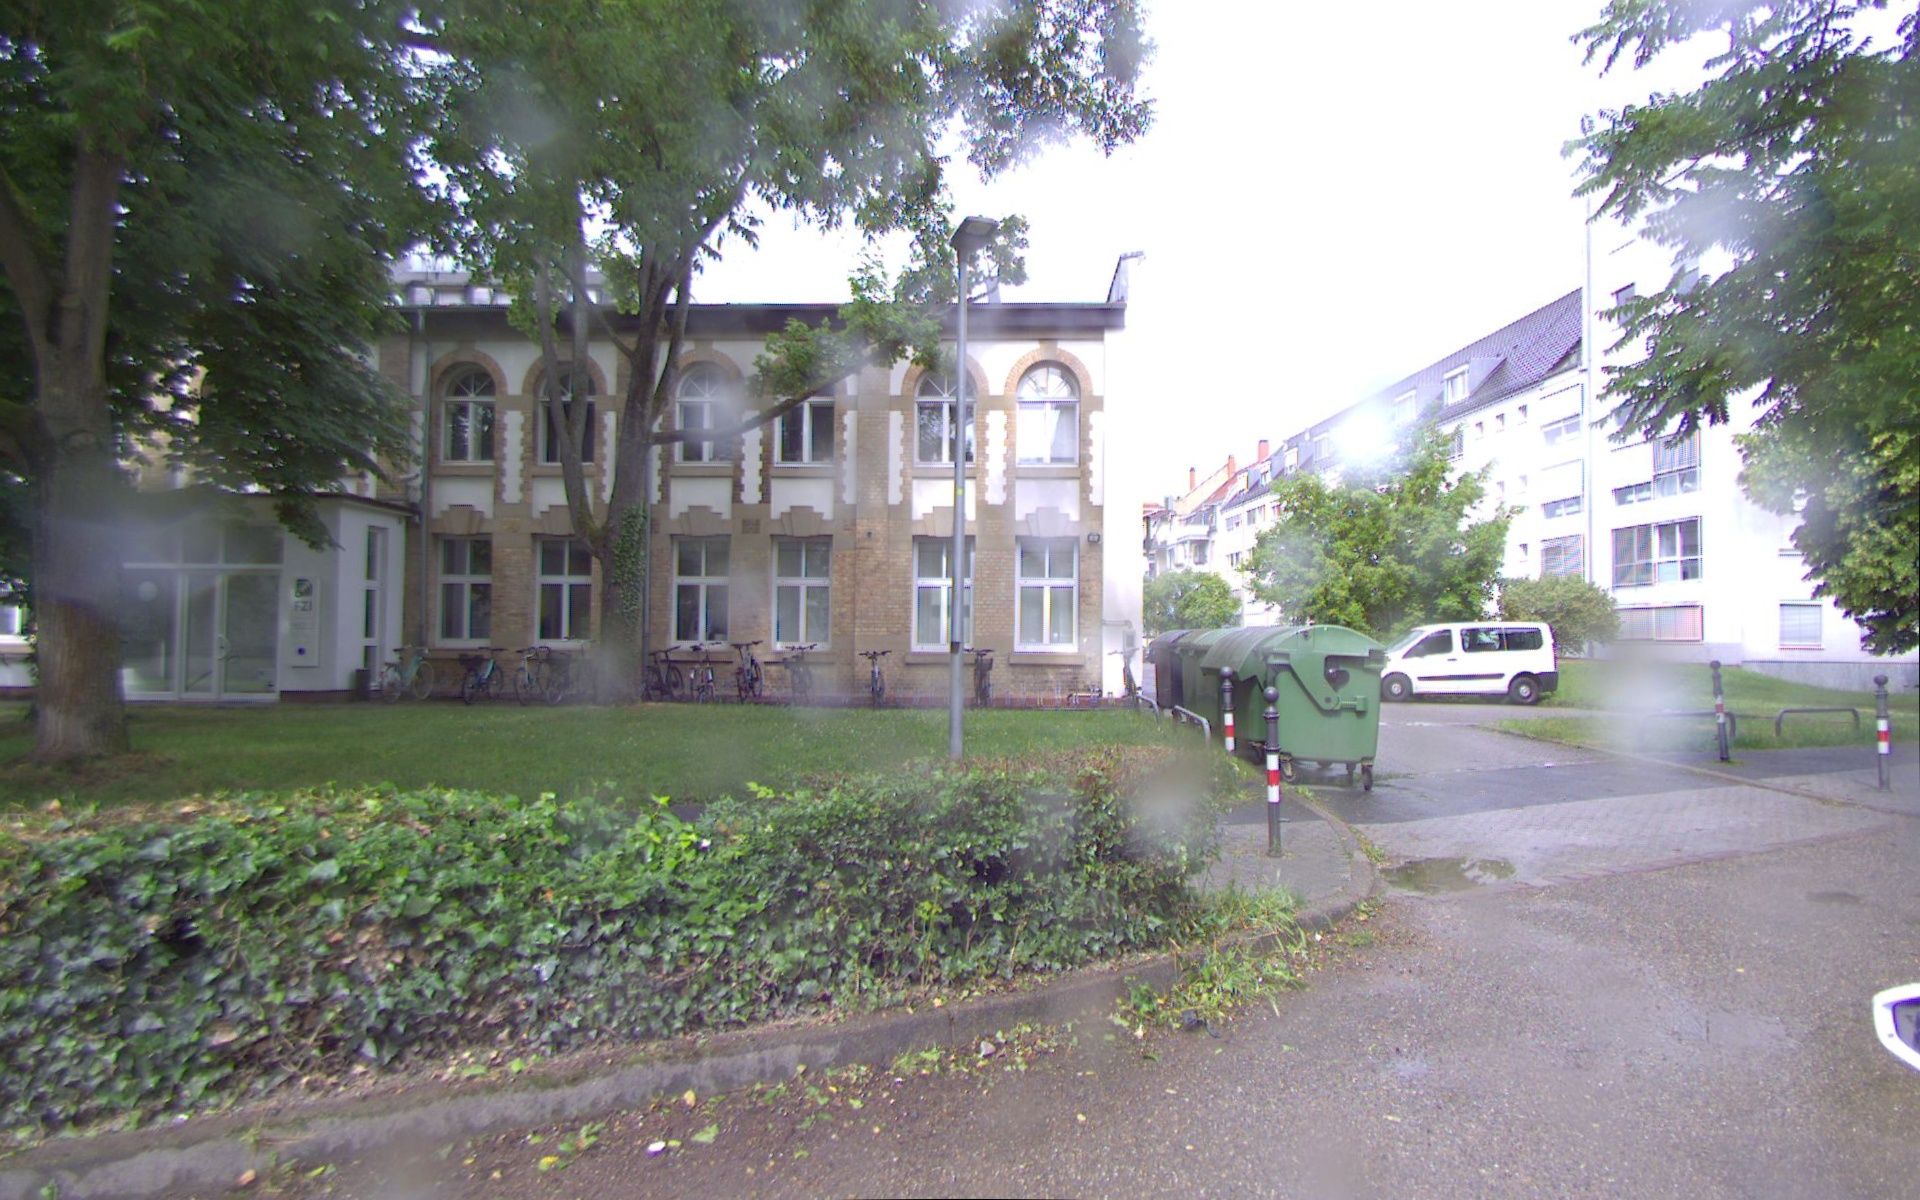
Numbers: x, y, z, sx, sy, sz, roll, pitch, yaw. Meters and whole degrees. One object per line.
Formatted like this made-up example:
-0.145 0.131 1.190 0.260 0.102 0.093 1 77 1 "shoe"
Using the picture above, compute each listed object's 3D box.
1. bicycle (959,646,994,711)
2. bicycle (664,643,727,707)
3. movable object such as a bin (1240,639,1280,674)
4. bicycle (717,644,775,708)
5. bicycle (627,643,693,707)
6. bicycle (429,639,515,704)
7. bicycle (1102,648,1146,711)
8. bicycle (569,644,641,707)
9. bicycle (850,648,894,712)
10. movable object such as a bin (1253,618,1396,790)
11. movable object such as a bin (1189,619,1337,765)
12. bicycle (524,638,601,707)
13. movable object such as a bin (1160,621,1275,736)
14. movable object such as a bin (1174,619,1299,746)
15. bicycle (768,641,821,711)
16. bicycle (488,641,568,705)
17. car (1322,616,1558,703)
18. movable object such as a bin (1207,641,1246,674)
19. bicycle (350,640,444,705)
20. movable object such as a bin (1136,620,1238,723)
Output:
0.321 1.433 18.614 0.605 1.130 1.789 -1 -3 2 "bicycle"
-4.928 1.389 18.810 0.605 1.130 1.928 -1 -3 2 "bicycle"
11.984 2.254 40.215 1.271 1.354 1.198 -1 -2 4 "movable object such as a bin"
-3.985 1.404 18.855 0.605 1.130 1.928 -1 -3 2 "bicycle"
-5.618 1.392 18.912 0.605 1.130 1.928 -1 -3 2 "bicycle"
-9.066 1.319 18.739 0.605 1.130 1.928 -1 -3 2 "bicycle"
3.043 1.461 18.739 0.605 1.130 1.521 -1 -3 2 "bicycle"
-6.627 1.398 18.873 0.605 1.130 1.928 -1 -3 2 "bicycle"
-1.628 1.469 18.812 0.605 1.130 1.789 -1 -3 2 "bicycle"
3.452 0.946 9.673 1.082 1.492 1.487 1 -2 12 "movable object such as a bin"
3.339 0.984 11.232 1.146 1.503 1.402 1 0 -4 "movable object such as a bin"
-7.417 1.321 18.844 0.605 1.192 1.927 0 -1 2 "bicycle"
3.584 1.078 14.131 1.145 1.502 1.497 -1 -3 -3 "movable object such as a bin"
3.446 1.005 12.657 1.145 1.503 1.402 1 -1 -2 "movable object such as a bin"
-3.076 1.402 18.823 0.605 1.240 1.928 -1 -3 2 "bicycle"
-8.101 1.358 18.929 0.605 1.130 1.928 -1 -3 2 "bicycle"
11.673 1.448 24.715 4.791 1.950 2.101 1 -3 4 "car"
10.640 2.291 40.207 1.315 1.309 1.096 -1 -2 4 "movable object such as a bin"
-10.478 1.334 18.767 0.605 1.130 1.928 -1 -3 2 "bicycle"
3.508 1.101 15.702 1.145 1.502 1.594 -1 -3 -3 "movable object such as a bin"
